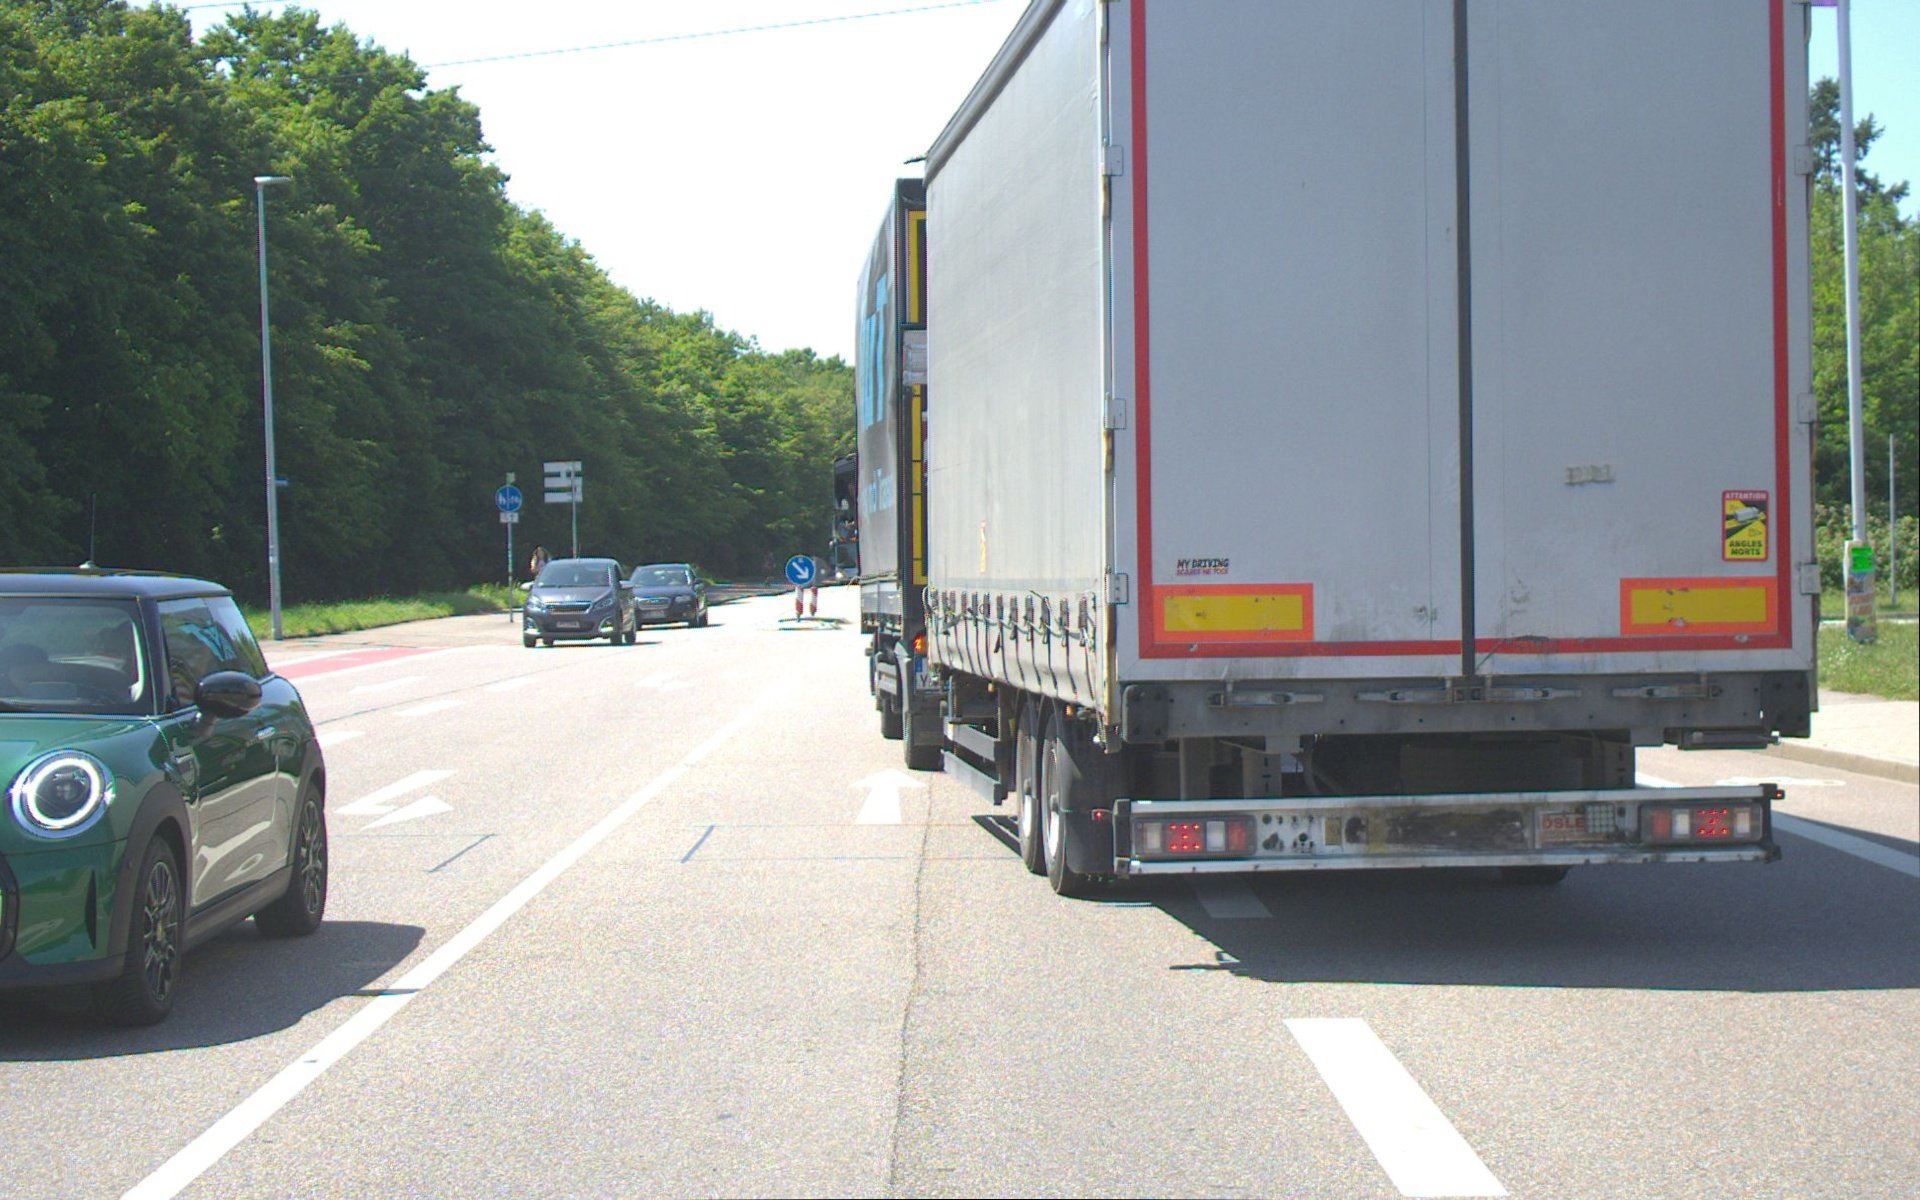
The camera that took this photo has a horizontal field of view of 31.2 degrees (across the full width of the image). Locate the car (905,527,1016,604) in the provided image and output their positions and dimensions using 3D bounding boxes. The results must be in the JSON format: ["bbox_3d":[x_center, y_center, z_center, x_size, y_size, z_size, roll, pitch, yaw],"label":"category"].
[{"bbox_3d":[0.045,-0.780,76.541,2.026,1.627,3.999,-1,1,6],"label":"car"}]

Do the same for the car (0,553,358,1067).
[{"bbox_3d":[-3.322,0.586,11.949,1.723,1.457,3.990,0,1,0],"label":"car"}]

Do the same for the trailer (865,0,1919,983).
[{"bbox_3d":[1.432,-0.835,16.540,3.076,4.056,9.811,0,1,-6],"label":"trailer"}]

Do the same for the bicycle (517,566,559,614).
[{"bbox_3d":[-9.650,-0.239,78.658,0.669,1.051,2.045,0,1,1],"label":"bicycle"}]

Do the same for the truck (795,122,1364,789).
[{"bbox_3d":[0.555,-0.955,25.023,3.076,4.056,7.961,0,1,-6],"label":"truck"}]

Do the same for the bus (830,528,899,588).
[{"bbox_3d":[-5.416,-2.473,197.682,2.750,3.034,11.938,-5,1,3],"label":"bus"}]

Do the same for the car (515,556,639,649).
[{"bbox_3d":[-6.386,0.022,57.651,1.622,1.451,3.501,-2,1,0],"label":"car"}]

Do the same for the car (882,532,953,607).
[{"bbox_3d":[-1.108,-0.824,90.884,1.655,1.900,4.000,-1,1,2],"label":"car"}]

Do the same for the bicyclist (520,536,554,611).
[{"bbox_3d":[-9.656,-0.605,78.490,0.665,1.700,0.769,0,1,1],"label":"bicyclist"}]

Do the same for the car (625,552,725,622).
[{"bbox_3d":[-6.336,-0.322,76.857,1.744,1.400,4.441,-1,2,1],"label":"car"}]
